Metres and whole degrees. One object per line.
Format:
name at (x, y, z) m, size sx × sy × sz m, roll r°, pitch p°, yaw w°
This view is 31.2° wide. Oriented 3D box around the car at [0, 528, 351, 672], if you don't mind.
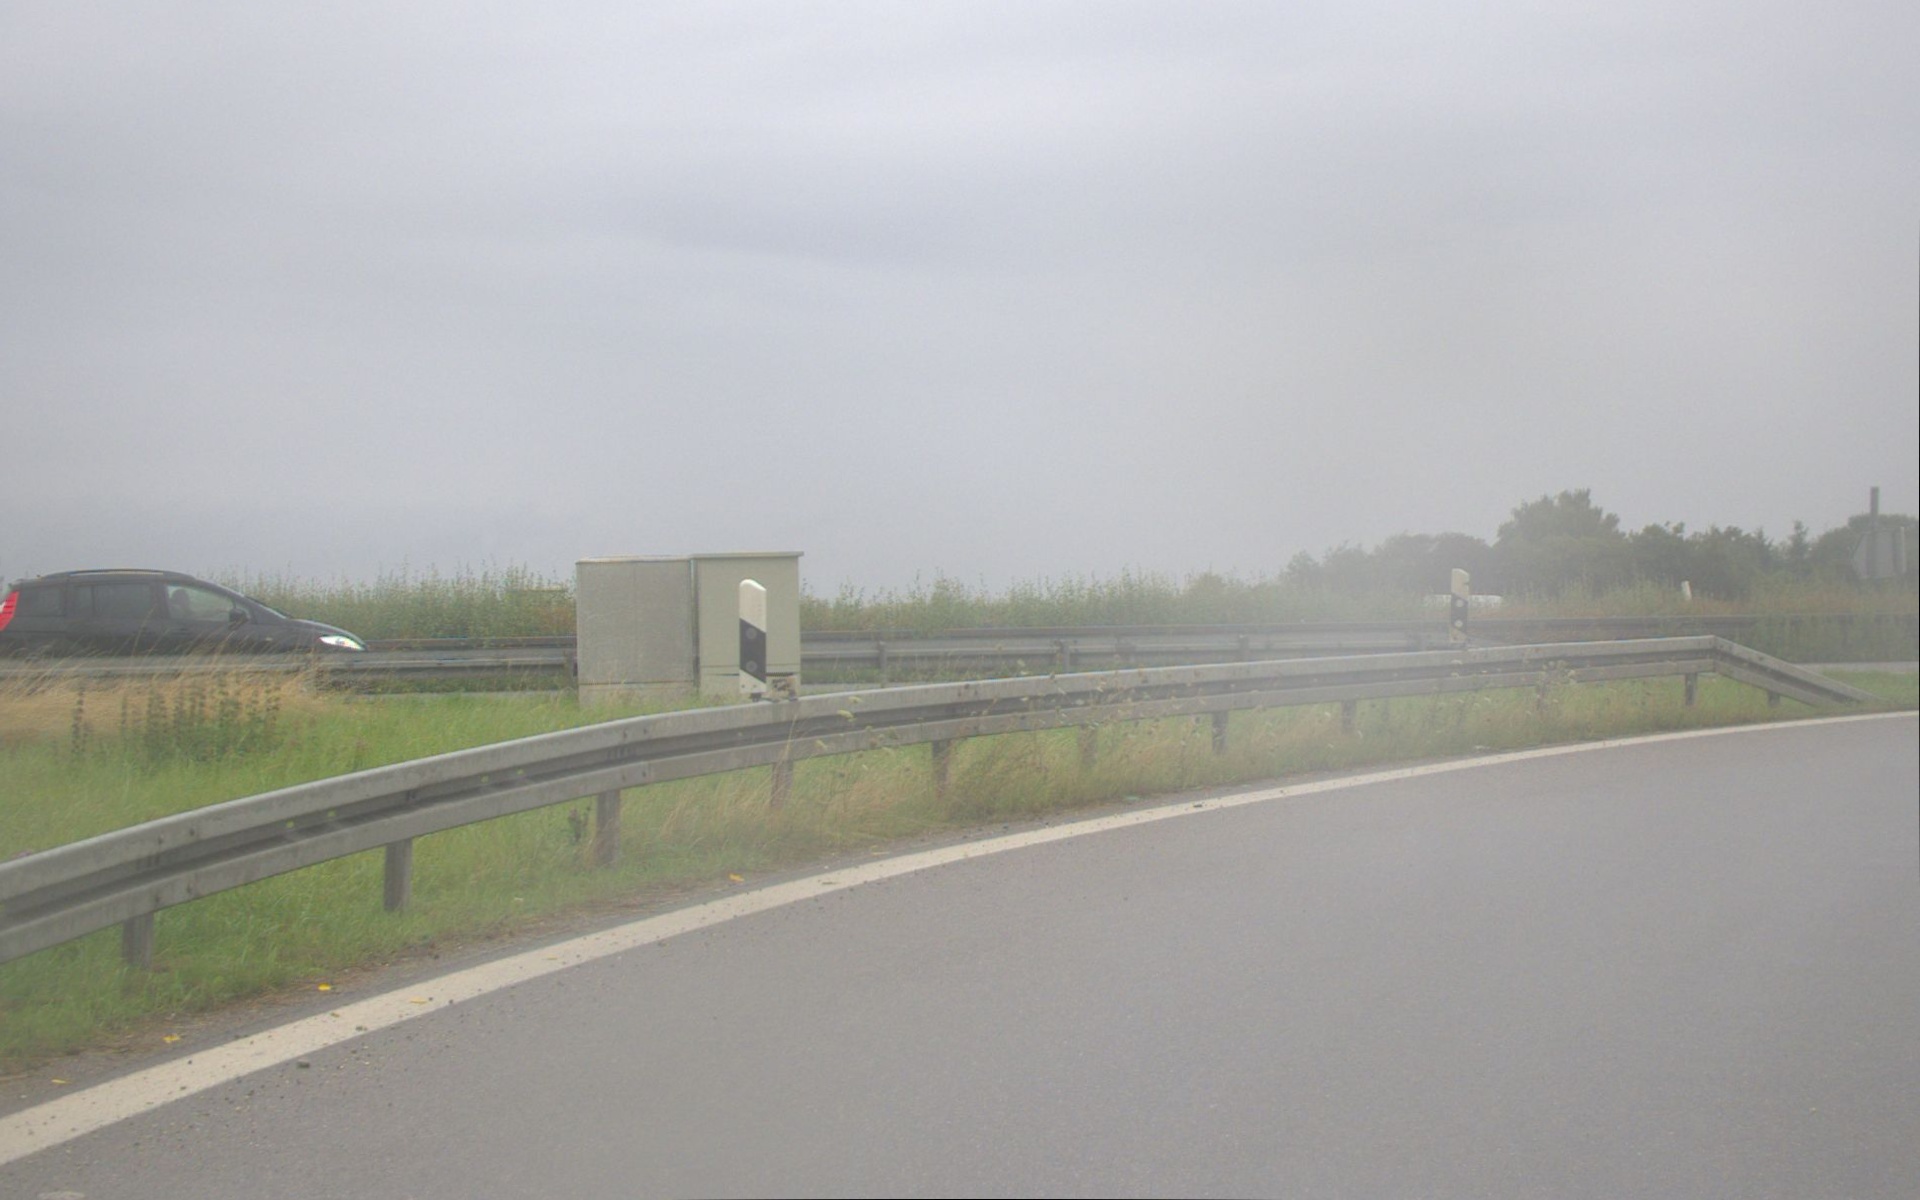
car at (-9.469, -0.012, 40.195) m, size 4.579 × 1.630 × 2.153 m, roll 0°, pitch 0°, yaw -11°
